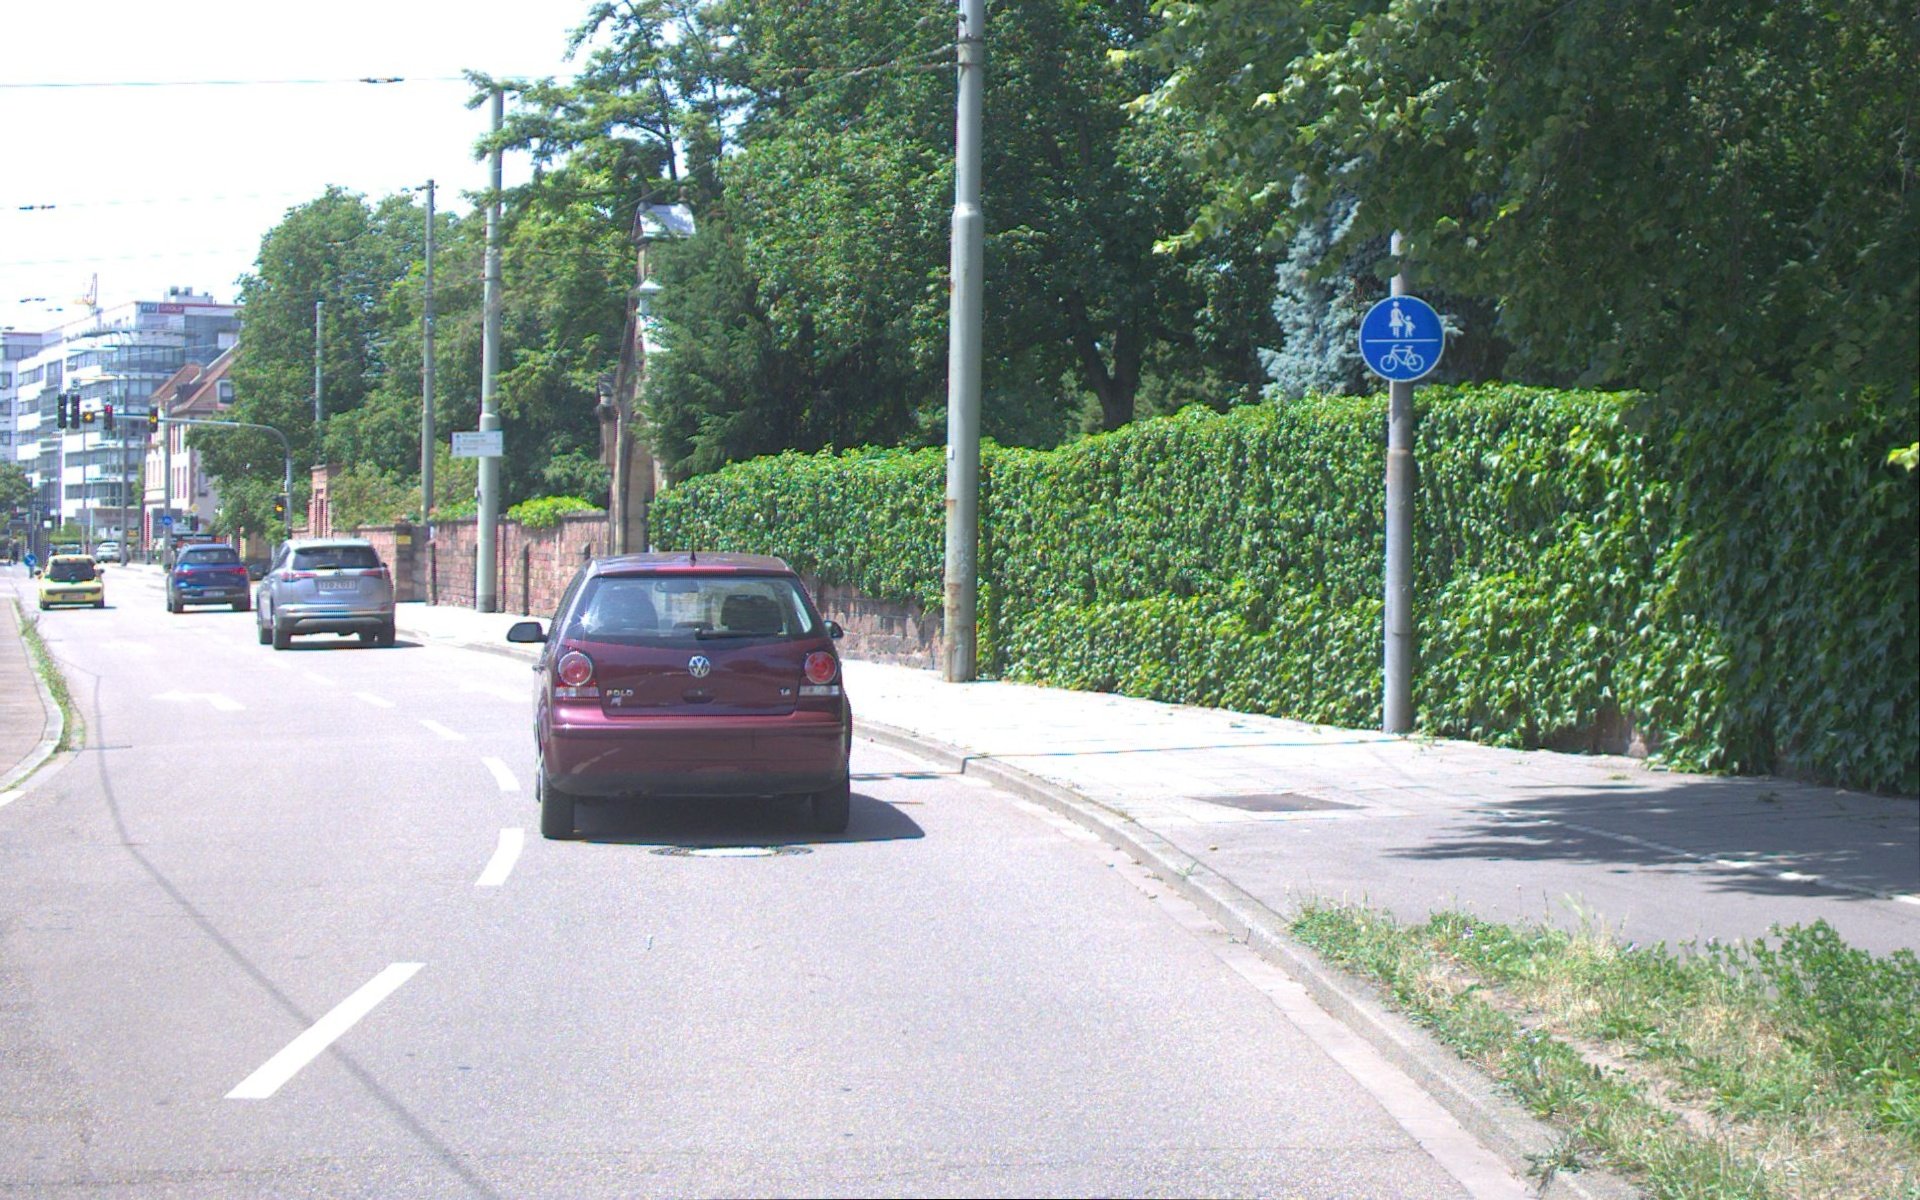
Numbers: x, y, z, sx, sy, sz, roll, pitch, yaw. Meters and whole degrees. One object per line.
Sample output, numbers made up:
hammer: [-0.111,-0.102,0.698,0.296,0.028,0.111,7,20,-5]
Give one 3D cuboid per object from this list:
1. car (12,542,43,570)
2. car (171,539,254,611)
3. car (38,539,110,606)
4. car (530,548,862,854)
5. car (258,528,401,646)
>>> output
car: [-43.487,-2.060,160.324,1.353,1.248,2.973,2,1,-15]
car: [-18.209,-0.620,83.647,1.773,1.625,4.001,2,1,-15]
car: [-23.850,-0.765,92.452,1.794,1.677,4.001,2,1,-15]
car: [-1.559,0.468,19.123,1.609,1.493,4.001,0,1,-8]
car: [-9.703,-0.229,52.715,1.794,1.677,4.001,2,1,-15]
